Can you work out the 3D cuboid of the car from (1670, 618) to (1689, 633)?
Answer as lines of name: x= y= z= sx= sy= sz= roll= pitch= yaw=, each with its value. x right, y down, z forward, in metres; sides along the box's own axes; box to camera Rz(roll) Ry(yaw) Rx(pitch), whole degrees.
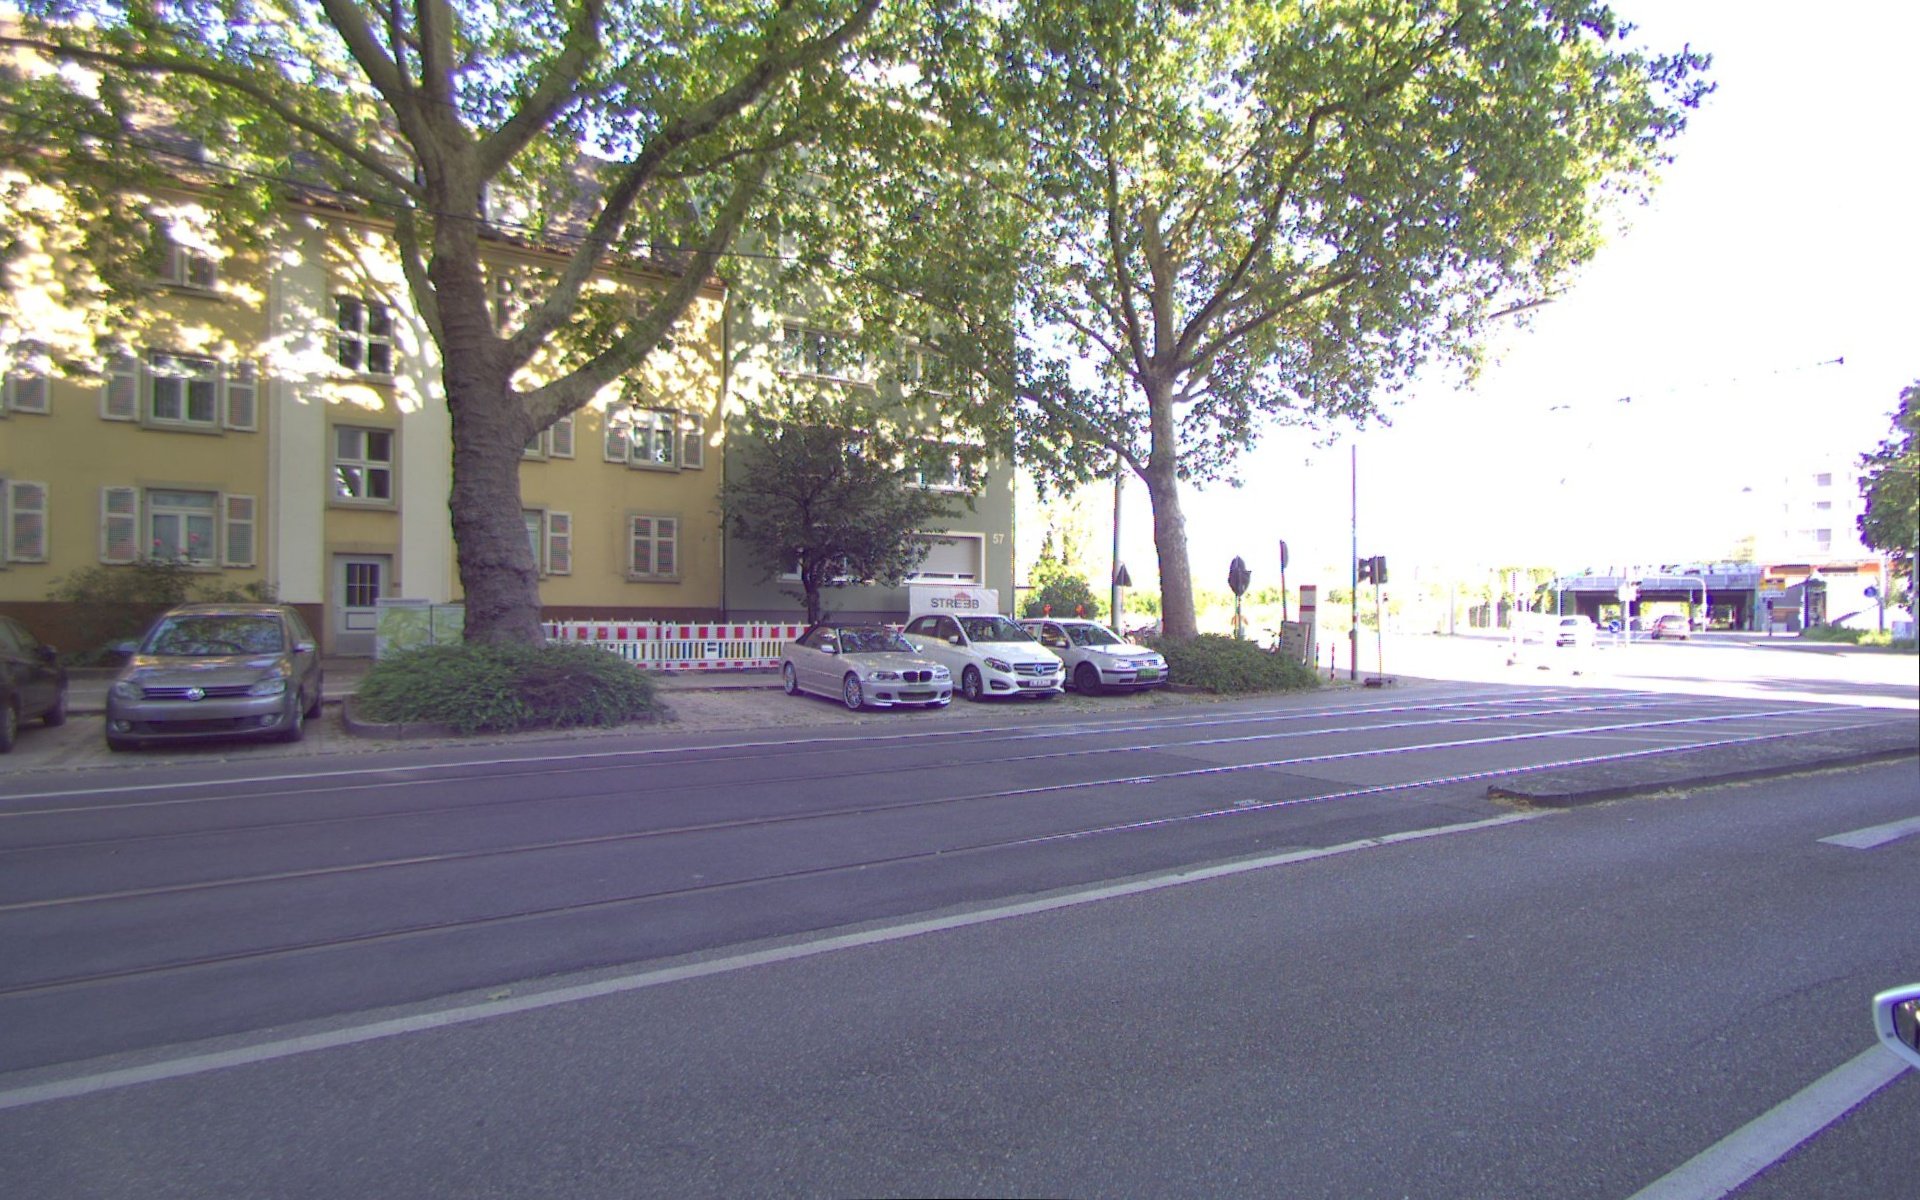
car: x=83.509 y=2.980 z=116.669 sx=1.731 sy=1.706 sz=3.729 roll=2 pitch=0 yaw=36

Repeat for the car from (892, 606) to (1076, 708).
car: x=0.348 y=0.985 z=19.153 sx=1.651 sy=1.669 sz=3.949 roll=1 pitch=0 yaw=-31

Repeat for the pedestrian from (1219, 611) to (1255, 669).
pedestrian: x=8.377 y=1.191 z=30.340 sx=0.761 sy=1.683 sz=0.953 roll=2 pitch=0 yaw=33

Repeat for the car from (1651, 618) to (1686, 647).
car: x=49.243 y=2.235 z=69.740 sx=1.884 sy=1.906 sz=4.828 roll=0 pitch=-1 yaw=36

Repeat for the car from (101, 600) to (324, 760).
car: x=-9.001 y=0.834 z=12.415 sx=1.652 sy=1.602 sz=3.953 roll=1 pitch=0 yaw=-29

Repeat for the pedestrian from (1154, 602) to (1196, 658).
pedestrian: x=6.598 y=0.908 z=30.833 sx=0.919 sy=1.669 sz=0.841 roll=2 pitch=0 yaw=-30

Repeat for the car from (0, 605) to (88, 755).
car: x=-11.467 y=0.835 z=11.384 sx=1.652 sy=1.518 sz=3.778 roll=1 pitch=0 yaw=-29

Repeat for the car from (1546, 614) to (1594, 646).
car: x=33.541 y=1.631 z=55.199 sx=1.860 sy=1.606 sz=3.823 roll=2 pitch=0 yaw=37

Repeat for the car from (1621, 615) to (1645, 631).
car: x=70.055 y=2.390 z=104.591 sx=1.860 sy=1.606 sz=3.823 roll=2 pitch=0 yaw=37

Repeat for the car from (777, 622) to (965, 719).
car: x=-1.652 y=1.111 z=17.308 sx=1.651 sy=1.370 sz=3.949 roll=1 pitch=0 yaw=-31

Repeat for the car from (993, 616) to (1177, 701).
car: x=2.438 y=1.112 z=20.528 sx=1.651 sy=1.473 sz=3.949 roll=1 pitch=0 yaw=-31
